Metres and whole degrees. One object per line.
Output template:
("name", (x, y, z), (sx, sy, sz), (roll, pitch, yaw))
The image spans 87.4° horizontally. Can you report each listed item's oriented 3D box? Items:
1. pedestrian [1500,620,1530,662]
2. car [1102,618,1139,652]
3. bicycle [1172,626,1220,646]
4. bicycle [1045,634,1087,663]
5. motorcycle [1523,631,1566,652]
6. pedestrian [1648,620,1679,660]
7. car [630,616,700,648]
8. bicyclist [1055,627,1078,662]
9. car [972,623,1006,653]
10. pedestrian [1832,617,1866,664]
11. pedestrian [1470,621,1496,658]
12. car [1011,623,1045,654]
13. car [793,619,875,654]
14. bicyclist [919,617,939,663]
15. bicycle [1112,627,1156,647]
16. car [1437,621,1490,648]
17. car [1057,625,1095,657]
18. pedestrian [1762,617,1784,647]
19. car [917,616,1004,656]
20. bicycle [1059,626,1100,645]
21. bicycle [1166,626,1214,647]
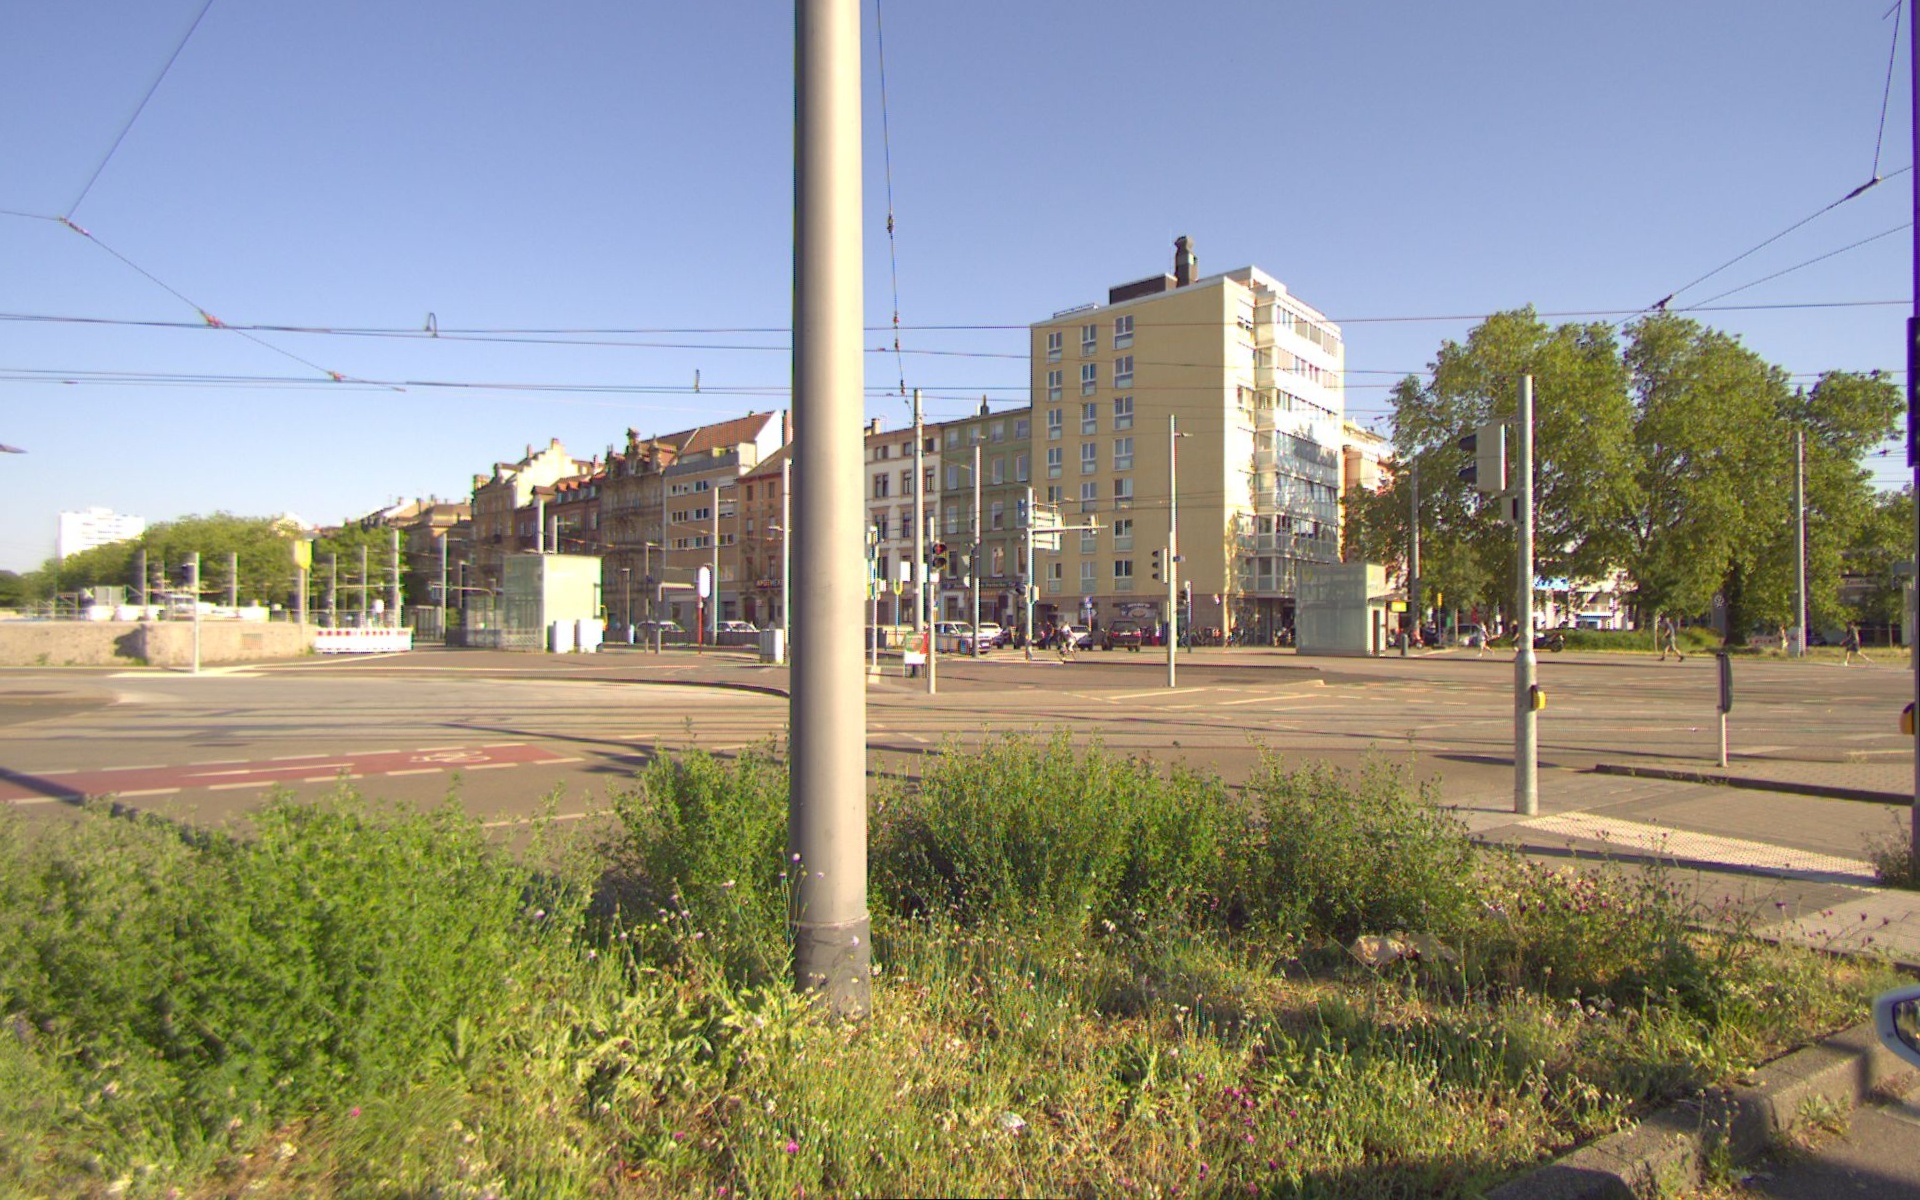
("pedestrian", (23.616, 1.736, 42.740), (0.747, 1.728, 0.793), (2, 0, -22))
("car", (9.162, 1.971, 57.465), (1.684, 1.728, 4.001), (2, 0, 4))
("bicycle", (14.951, 2.274, 63.654), (3.003, 1.167, 0.637), (1, 0, 44))
("bicycle", (4.321, 1.949, 40.757), (0.617, 1.104, 1.914), (2, 0, 44))
("motorcycle", (29.152, 2.057, 50.113), (1.753, 0.926, 0.676), (2, 0, 41))
("pedestrian", (30.718, 1.737, 43.869), (0.747, 1.728, 0.793), (2, 0, -22))
("car", (-19.238, 2.064, 65.418), (4.837, 1.849, 1.990), (2, 0, 41))
("bicyclist", (4.323, 1.795, 40.740), (0.617, 1.368, 0.658), (2, 0, 44))
("car", (1.873, 2.387, 63.962), (1.960, 1.728, 4.001), (2, 0, 4))
("pedestrian", (36.710, 1.665, 41.476), (0.747, 1.911, 0.793), (2, 0, -22))
("pedestrian", (25.107, 1.910, 48.205), (0.747, 1.728, 0.793), (2, 0, -22))
("car", (4.161, 2.312, 61.506), (1.960, 1.728, 4.001), (2, 0, 4))
("car", (-6.835, 1.943, 54.129), (4.653, 1.684, 1.776), (1, 0, 43))
("bicyclist", (-1.187, 1.522, 38.245), (0.653, 1.706, 0.980), (2, 0, 2))
("bicycle", (11.415, 2.407, 66.137), (3.003, 1.167, 0.637), (1, 0, 44))
("car", (32.016, 2.203, 63.813), (3.973, 1.588, 1.753), (2, 0, -44))
("car", (6.807, 2.393, 59.274), (1.960, 1.728, 4.001), (2, 0, 4))
("pedestrian", (47.551, 1.860, 58.726), (0.491, 1.716, 0.852), (2, 0, -32))
("car", (-0.009, 1.695, 47.893), (3.940, 1.684, 1.778), (2, 0, 40))
("bicycle", (8.187, 2.464, 69.140), (3.003, 1.167, 0.637), (1, 0, 44))
("bicycle", (14.450, 2.282, 63.220), (3.003, 1.167, 0.637), (1, 0, 44))
